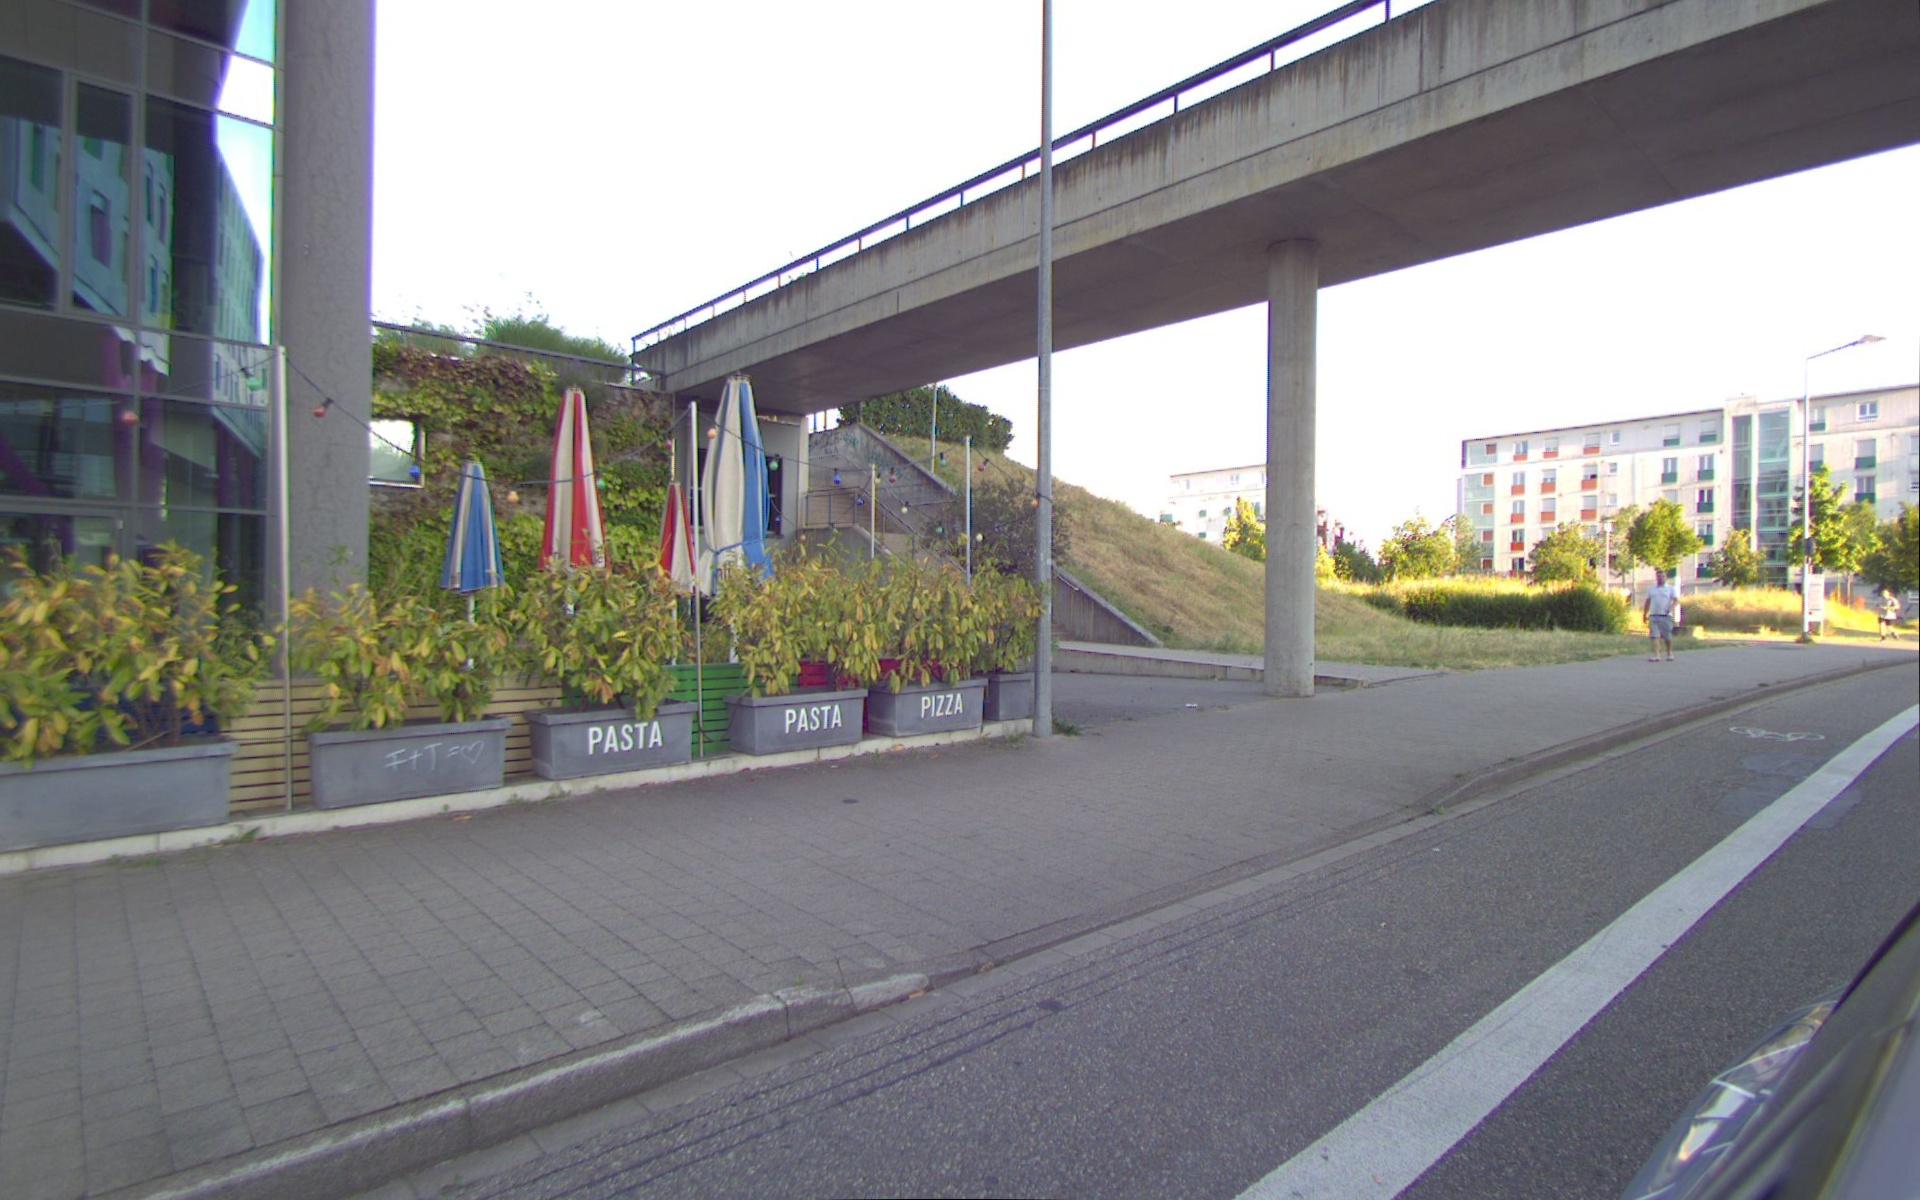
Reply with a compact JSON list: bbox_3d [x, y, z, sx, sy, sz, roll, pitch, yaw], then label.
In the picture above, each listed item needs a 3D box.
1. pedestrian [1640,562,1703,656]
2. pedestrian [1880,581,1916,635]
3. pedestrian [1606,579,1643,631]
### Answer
[{"bbox_3d":[13.688,0.160,19.461,0.890,1.745,0.737,1,2,-40],"label":"pedestrian"},{"bbox_3d":[30.890,0.262,33.332,0.523,1.745,0.737,1,2,-40],"label":"pedestrian"},{"bbox_3d":[21.941,0.152,33.403,0.844,1.650,0.737,1,2,-40],"label":"pedestrian"}]
